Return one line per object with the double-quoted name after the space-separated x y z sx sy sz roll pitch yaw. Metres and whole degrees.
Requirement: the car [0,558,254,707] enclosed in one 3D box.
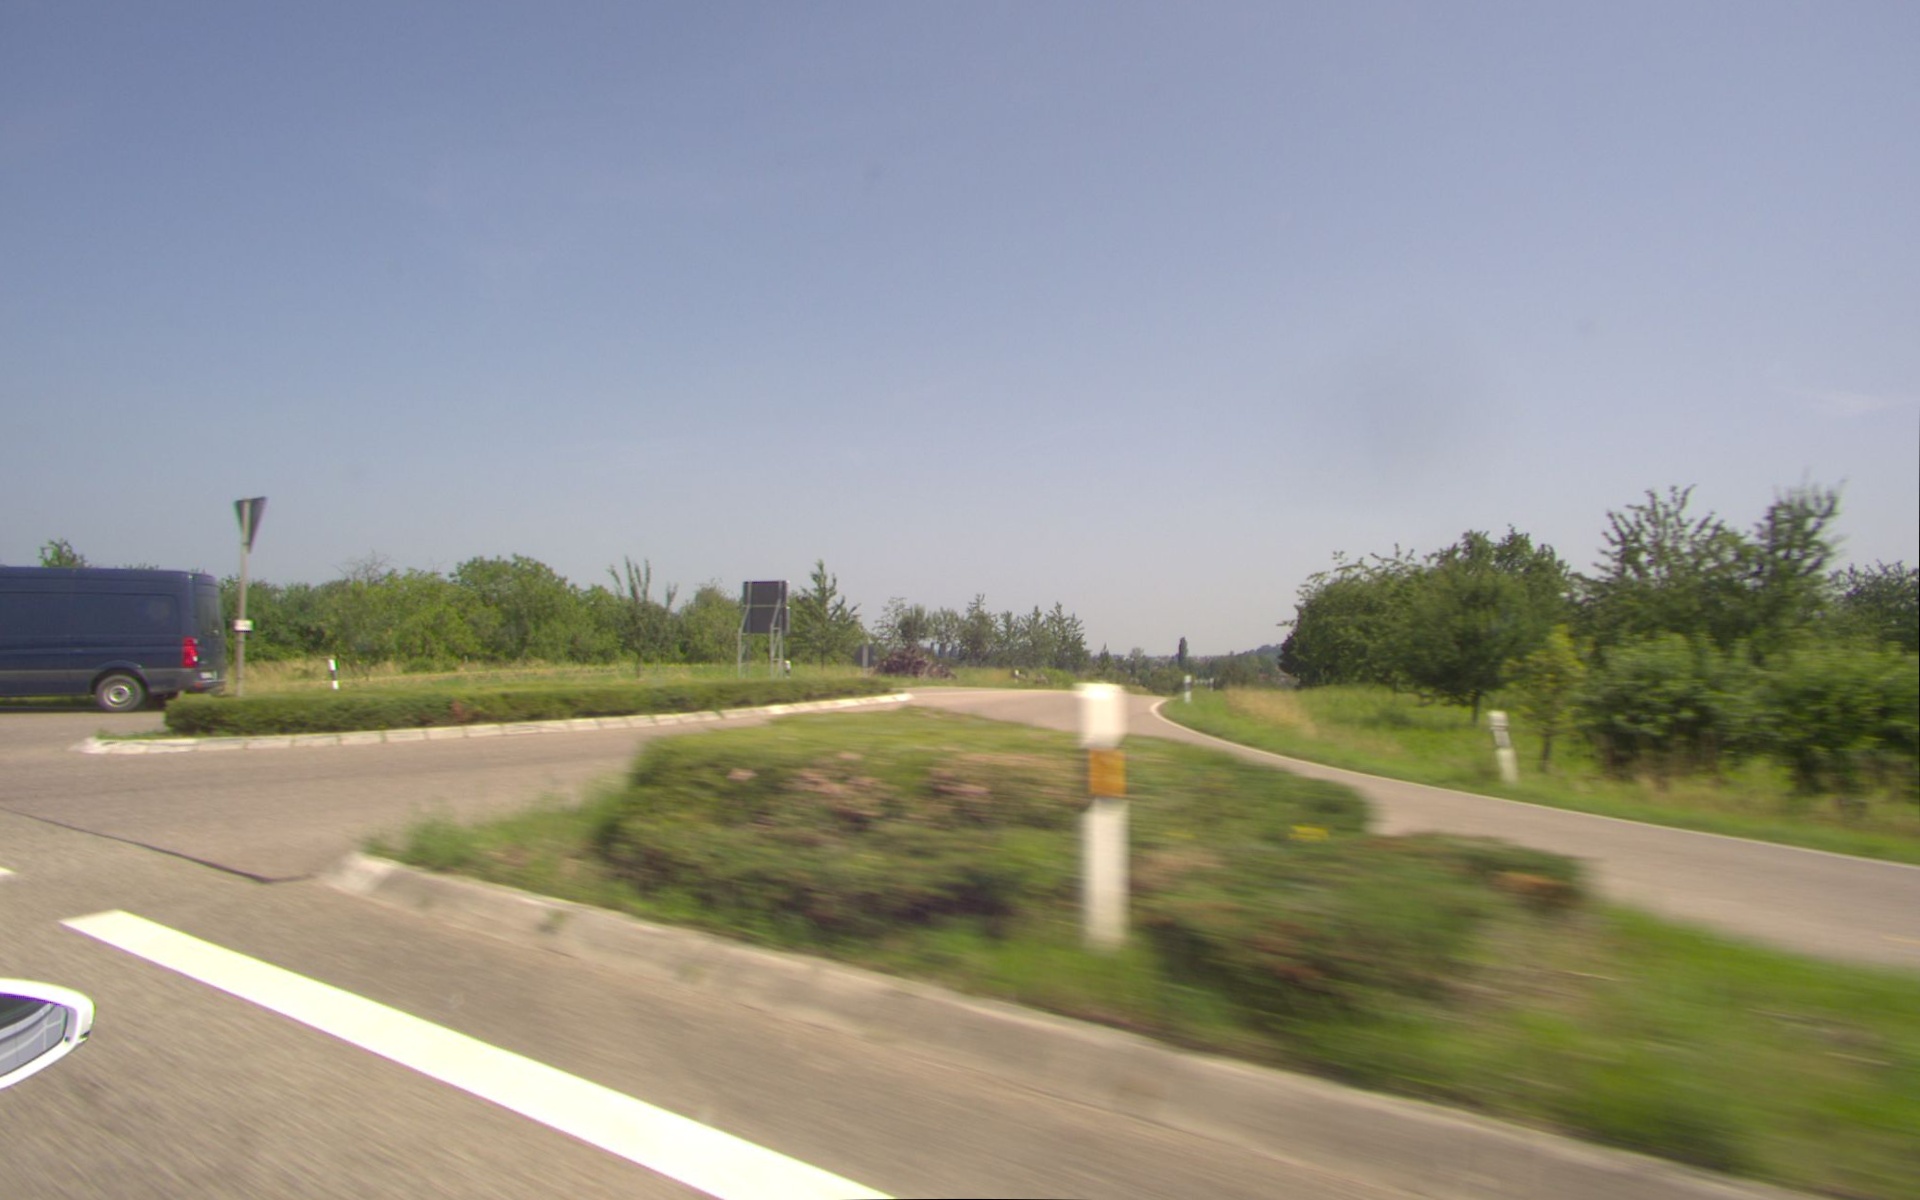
-17.125 0.600 18.573 6.209 2.607 2.056 1 -2 -23 "car"
